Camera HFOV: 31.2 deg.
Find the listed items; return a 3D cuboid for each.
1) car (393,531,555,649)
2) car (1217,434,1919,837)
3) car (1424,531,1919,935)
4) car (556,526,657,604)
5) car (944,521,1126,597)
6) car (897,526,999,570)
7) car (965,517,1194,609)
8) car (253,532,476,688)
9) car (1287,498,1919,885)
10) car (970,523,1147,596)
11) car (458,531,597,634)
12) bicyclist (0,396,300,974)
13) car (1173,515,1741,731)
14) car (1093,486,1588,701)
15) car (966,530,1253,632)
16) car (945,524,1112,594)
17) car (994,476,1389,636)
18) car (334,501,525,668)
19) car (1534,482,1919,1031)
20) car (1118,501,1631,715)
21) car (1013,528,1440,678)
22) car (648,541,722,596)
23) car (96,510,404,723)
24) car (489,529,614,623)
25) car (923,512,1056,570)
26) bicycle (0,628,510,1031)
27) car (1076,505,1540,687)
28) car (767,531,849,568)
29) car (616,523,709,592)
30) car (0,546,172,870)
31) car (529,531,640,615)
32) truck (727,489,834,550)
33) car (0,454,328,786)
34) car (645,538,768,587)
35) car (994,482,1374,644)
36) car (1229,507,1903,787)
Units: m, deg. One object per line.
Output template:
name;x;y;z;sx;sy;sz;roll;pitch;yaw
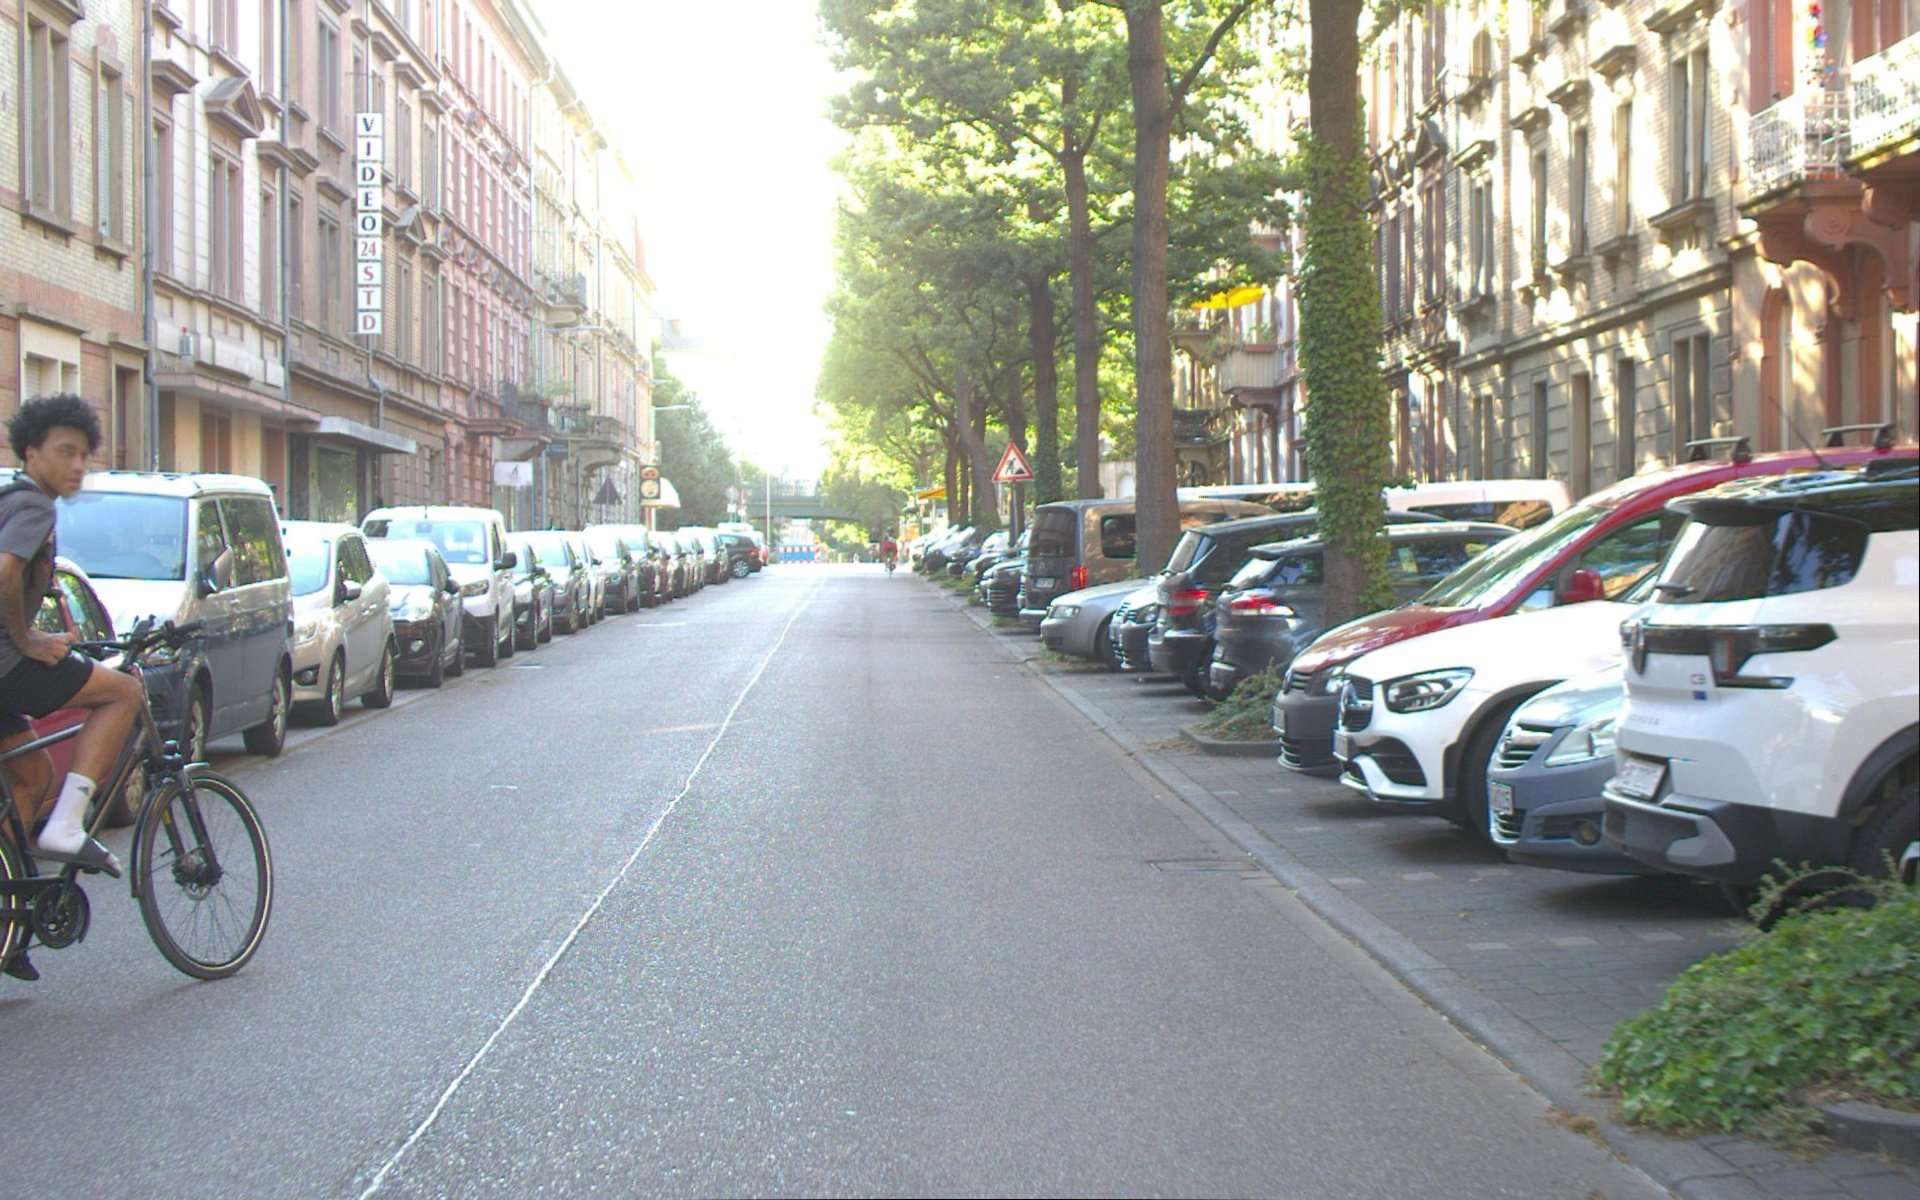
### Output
car;-6.364;-0.172;45.348;1.758;1.468;4.060;-1;1;-3
car;3.786;0.124;18.800;4.443;1.917;1.850;-3;2;-4
car;4.041;0.434;13.797;4.010;1.429;1.795;-3;1;-2
car;-6.892;-0.700;67.329;1.758;1.468;4.060;-1;1;-3
car;1.688;-0.940;78.436;3.849;1.568;1.718;-2;1;-9
car;-0.462;-2.022;133.500;3.850;1.568;1.718;-2;1;-2
car;2.097;-0.664;61.147;3.849;1.474;1.718;-2;1;-5
car;-6.056;0.057;35.336;1.758;1.462;4.001;2;1;-3
car;3.858;0.347;16.197;4.344;1.551;1.850;-3;2;-2
car;2.298;-0.952;80.855;3.849;1.568;1.718;-2;1;-9
car;-6.431;-0.295;51.452;1.758;1.468;4.060;-1;1;-3
bicyclist;-2.983;0.244;11.310;0.998;1.783;1.204;1;2;44
car;3.734;0.160;26.278;4.010;1.462;1.734;-2;0;-2
car;3.427;-0.078;31.524;4.220;1.770;1.835;-2;1;-3
car;2.097;-0.286;48.814;3.849;1.289;1.718;-2;1;-5
car;1.691;-1.026;85.488;3.849;1.568;1.718;-2;1;-9
car;3.048;-0.593;45.970;5.056;1.919;1.835;-2;1;-1
car;-6.171;-0.222;40.402;1.758;1.835;4.530;-1;1;-3
car;4.098;0.407;11.314;4.010;1.622;1.805;-2;0;-3
car;3.420;0.056;28.876;4.010;1.601;1.734;-2;0;-2
car;2.798;0.009;36.594;4.220;1.398;1.835;-2;1;-6
car;-7.971;-0.905;99.967;1.993;1.481;4.000;0;-1;-3
car;-5.869;0.088;28.908;1.753;1.603;4.384;2;1;-2
car;-6.621;-0.422;56.082;1.758;1.468;4.060;-1;1;-3
car;0.872;-1.775;103.210;3.850;1.568;1.718;-2;1;-2
bicycle;-2.951;0.731;11.337;0.998;1.154;2.916;1;2;44
car;3.425;-0.066;34.230;4.220;1.605;1.835;-2;1;-9
car;-7.923;-2.653;179.181;3.988;1.853;1.751;1;1;7
car;-6.884;-0.966;79.847;1.993;1.481;4.000;0;-1;-3
car;-5.229;0.471;17.370;1.592;1.470;3.699;2;1;0
car;-6.798;-0.516;62.565;1.758;1.468;4.060;-1;1;-3
truck;-12.441;-5.597;239.265;7.224;3.936;2.436;1;1;-38
car;-5.576;0.062;22.984;1.832;1.936;5.261;2;1;-2
car;-8.132;-1.185;110.510;1.997;1.481;3.993;-1;-1;31
car;2.743;-0.470;42.226;4.220;1.788;1.835;-2;1;-21
car;3.680;0.243;21.233;3.657;1.450;1.850;-3;2;-8
